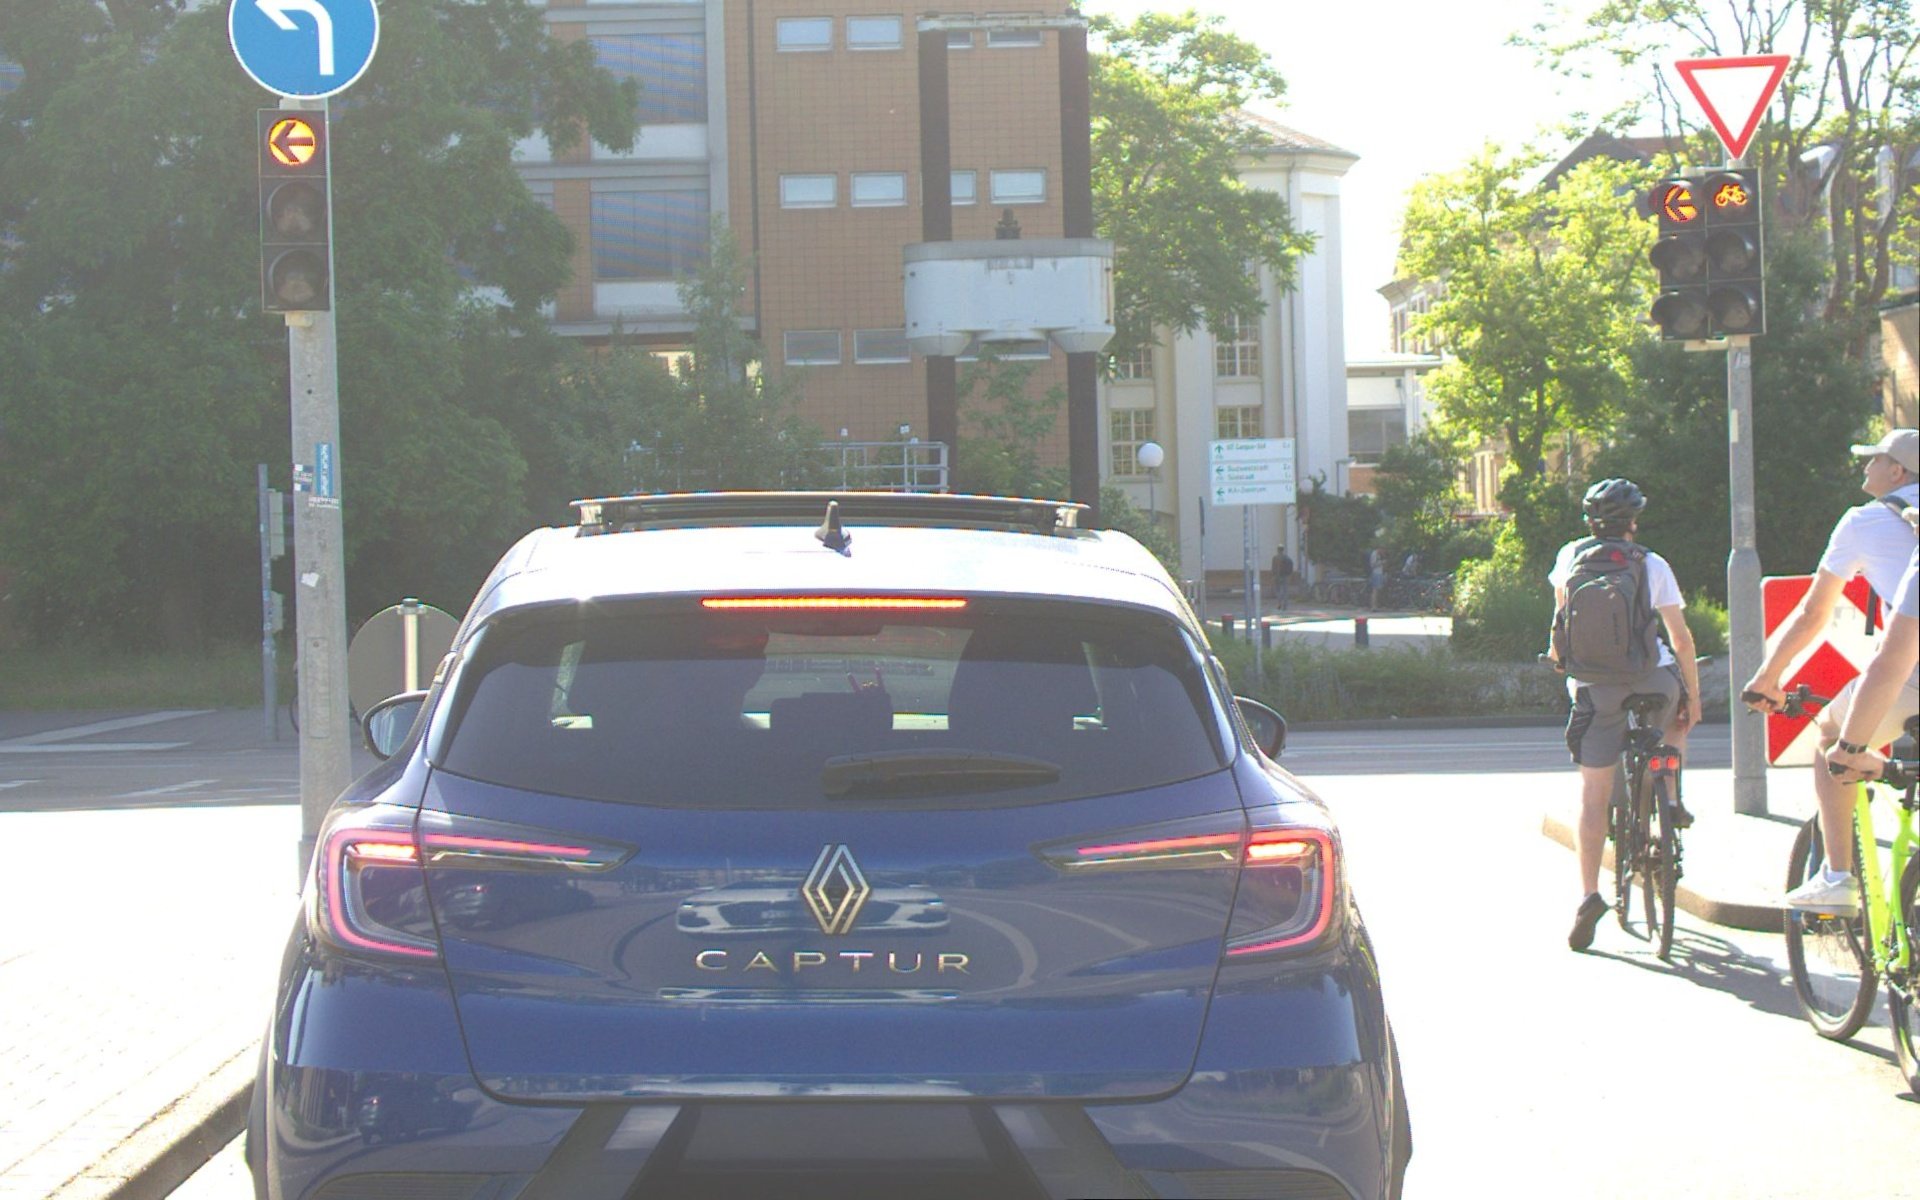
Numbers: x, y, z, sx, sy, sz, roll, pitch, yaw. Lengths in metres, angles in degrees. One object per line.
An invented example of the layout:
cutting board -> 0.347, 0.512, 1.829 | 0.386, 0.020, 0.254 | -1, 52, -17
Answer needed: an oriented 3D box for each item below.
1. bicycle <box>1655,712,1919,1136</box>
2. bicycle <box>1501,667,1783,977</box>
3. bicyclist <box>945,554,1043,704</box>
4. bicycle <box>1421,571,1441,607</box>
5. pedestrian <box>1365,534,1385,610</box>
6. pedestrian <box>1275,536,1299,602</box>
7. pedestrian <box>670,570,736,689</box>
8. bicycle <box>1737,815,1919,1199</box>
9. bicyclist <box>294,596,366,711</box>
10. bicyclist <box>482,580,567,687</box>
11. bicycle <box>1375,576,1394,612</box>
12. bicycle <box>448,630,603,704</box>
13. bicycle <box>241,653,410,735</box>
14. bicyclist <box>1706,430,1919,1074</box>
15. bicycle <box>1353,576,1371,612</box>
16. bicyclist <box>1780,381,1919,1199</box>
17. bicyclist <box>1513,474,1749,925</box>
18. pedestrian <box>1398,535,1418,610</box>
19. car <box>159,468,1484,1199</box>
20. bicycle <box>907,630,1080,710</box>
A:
bicycle -> 2.615, 0.867, 9.828 | 0.659, 0.999, 1.970 | 1, 1, -6
bicycle -> 2.514, 0.783, 12.908 | 0.739, 0.992, 2.173 | 1, 1, 3
bicyclist -> 0.434, 0.364, 43.655 | 1.102, 1.861, 0.652 | -1, 1, 10
bicycle -> 12.924, -0.298, 94.422 | 0.405, 0.969, 1.683 | 1, 1, 4
pedestrian -> 10.988, -0.751, 91.049 | 0.475, 2.007, 0.523 | -1, 1, 6
pedestrian -> 9.213, -0.883, 96.872 | 0.623, 1.849, 0.563 | -1, 1, 1
pedestrian -> -3.521, 0.397, 47.096 | 0.737, 1.598, 0.598 | -1, 1, 12
bicycle -> 2.231, 0.977, 7.263 | 0.740, 0.893, 1.978 | 1, 1, 1
bicyclist -> -8.029, 0.676, 43.794 | 0.737, 1.436, 0.598 | -2, 1, -27
bicyclist -> -5.882, 0.451, 46.460 | 0.938, 1.424, 0.597 | -1, 1, 27
bicycle -> 11.620, -0.169, 94.043 | 0.405, 0.969, 1.683 | 1, 1, 4
bicycle -> -5.874, 0.904, 46.461 | 2.079, 0.961, 0.597 | -1, 1, 27
bicycle -> -8.076, 1.189, 43.776 | 2.005, 0.961, 0.598 | -2, 1, -27
bicyclist -> 2.626, 0.408, 9.817 | 0.645, 1.733, 1.067 | 1, 0, -6
bicycle -> 10.998, -0.178, 94.086 | 0.405, 0.969, 1.683 | 1, 1, 4
bicyclist -> 2.235, 0.401, 7.251 | 0.751, 1.663, 1.016 | 1, 0, 1
bicyclist -> 2.511, 0.356, 12.952 | 0.726, 1.623, 0.969 | 1, 0, 4
pedestrian -> 12.045, -0.750, 92.400 | 0.475, 2.007, 0.468 | -1, 1, 6
car -> -0.265, 0.615, 6.703 | 1.803, 1.626, 4.000 | 0, 1, -2
bicycle -> 0.433, 0.894, 43.970 | 2.082, 0.927, 0.696 | -2, 2, 11
